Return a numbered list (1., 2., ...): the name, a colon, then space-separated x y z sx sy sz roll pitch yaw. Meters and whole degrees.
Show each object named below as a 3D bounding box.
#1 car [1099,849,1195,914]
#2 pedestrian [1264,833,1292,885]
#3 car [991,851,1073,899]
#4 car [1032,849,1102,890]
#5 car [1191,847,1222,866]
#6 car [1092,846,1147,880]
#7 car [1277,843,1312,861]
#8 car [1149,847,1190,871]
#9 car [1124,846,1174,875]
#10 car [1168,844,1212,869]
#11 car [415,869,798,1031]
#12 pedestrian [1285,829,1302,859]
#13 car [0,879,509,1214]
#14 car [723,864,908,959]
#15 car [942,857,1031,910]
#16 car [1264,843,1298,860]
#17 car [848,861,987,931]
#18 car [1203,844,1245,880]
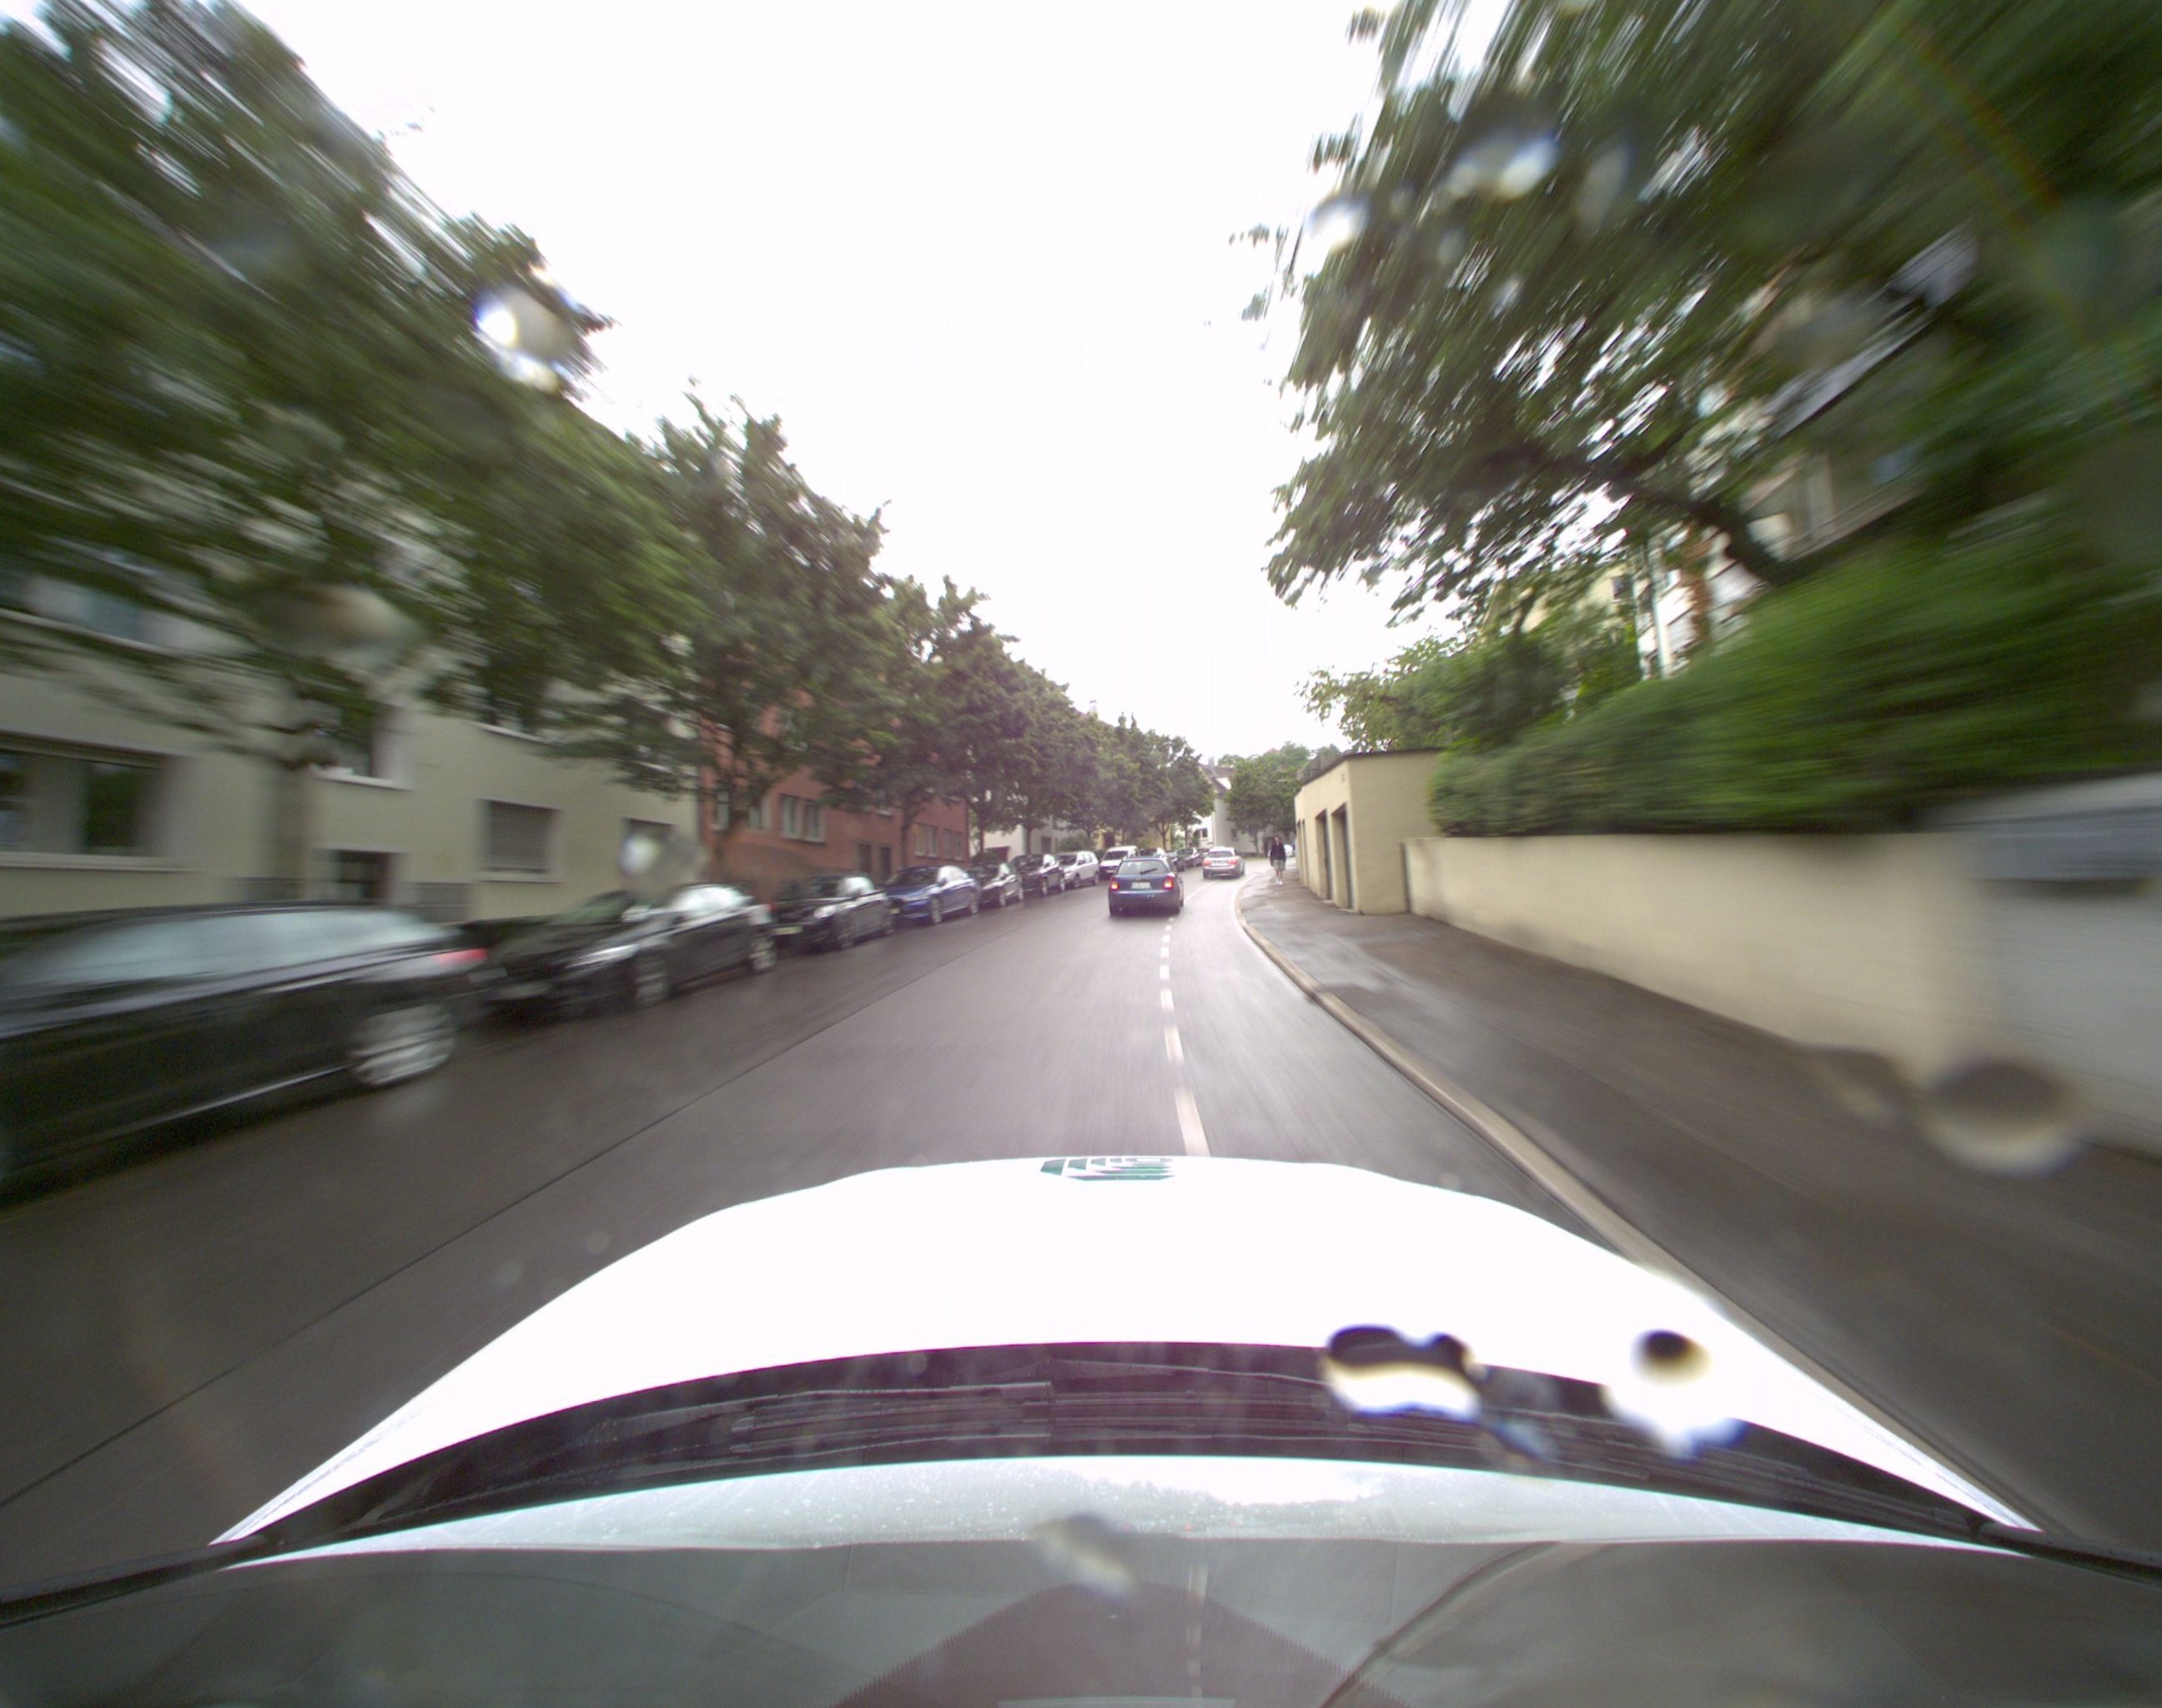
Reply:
1. car: 1.850 0.644 21.317 1.841 1.414 4.376 -5 -1 12
2. pedestrian: 7.332 0.194 30.330 0.893 1.850 0.806 -3 -1 13
3. car: -1.842 0.760 32.229 1.774 1.641 4.498 -3 0 15
4. car: -0.565 0.680 38.008 1.732 1.690 4.622 -3 0 18
5. car: 10.377 0.179 67.129 1.600 1.396 4.345 -4 0 21
6. car: 2.280 0.477 46.835 1.838 1.776 4.505 -3 0 19
7. car: 23.500 -0.226 89.593 1.767 1.646 4.373 -9 -5 40
8. car: 6.206 0.329 56.812 1.839 1.498 4.763 -3 0 18
9. car: 4.385 0.371 51.854 1.838 1.668 4.612 -4 0 22
10. car: 8.387 0.185 62.237 1.836 1.690 4.583 -3 0 27
11. car: -5.631 1.026 10.554 1.778 1.493 4.653 -2 0 7
12. pedestrian: 12.993 -0.614 49.754 0.769 1.758 1.016 -5 -1 18
13. car: -6.039 1.028 4.920 1.780 1.493 4.500 -4 0 2
14. car: -5.064 1.026 16.253 1.778 1.493 4.369 -3 0 6
15. car: -3.058 0.922 27.325 1.776 1.493 4.373 -3 0 9
16. car: 21.063 -0.272 85.522 1.767 1.514 4.374 -8 -4 36
17. car: -4.136 1.015 21.543 1.775 1.493 4.877 -3 0 11
18. car: 7.158 0.347 40.559 1.937 1.561 4.277 -2 1 11
